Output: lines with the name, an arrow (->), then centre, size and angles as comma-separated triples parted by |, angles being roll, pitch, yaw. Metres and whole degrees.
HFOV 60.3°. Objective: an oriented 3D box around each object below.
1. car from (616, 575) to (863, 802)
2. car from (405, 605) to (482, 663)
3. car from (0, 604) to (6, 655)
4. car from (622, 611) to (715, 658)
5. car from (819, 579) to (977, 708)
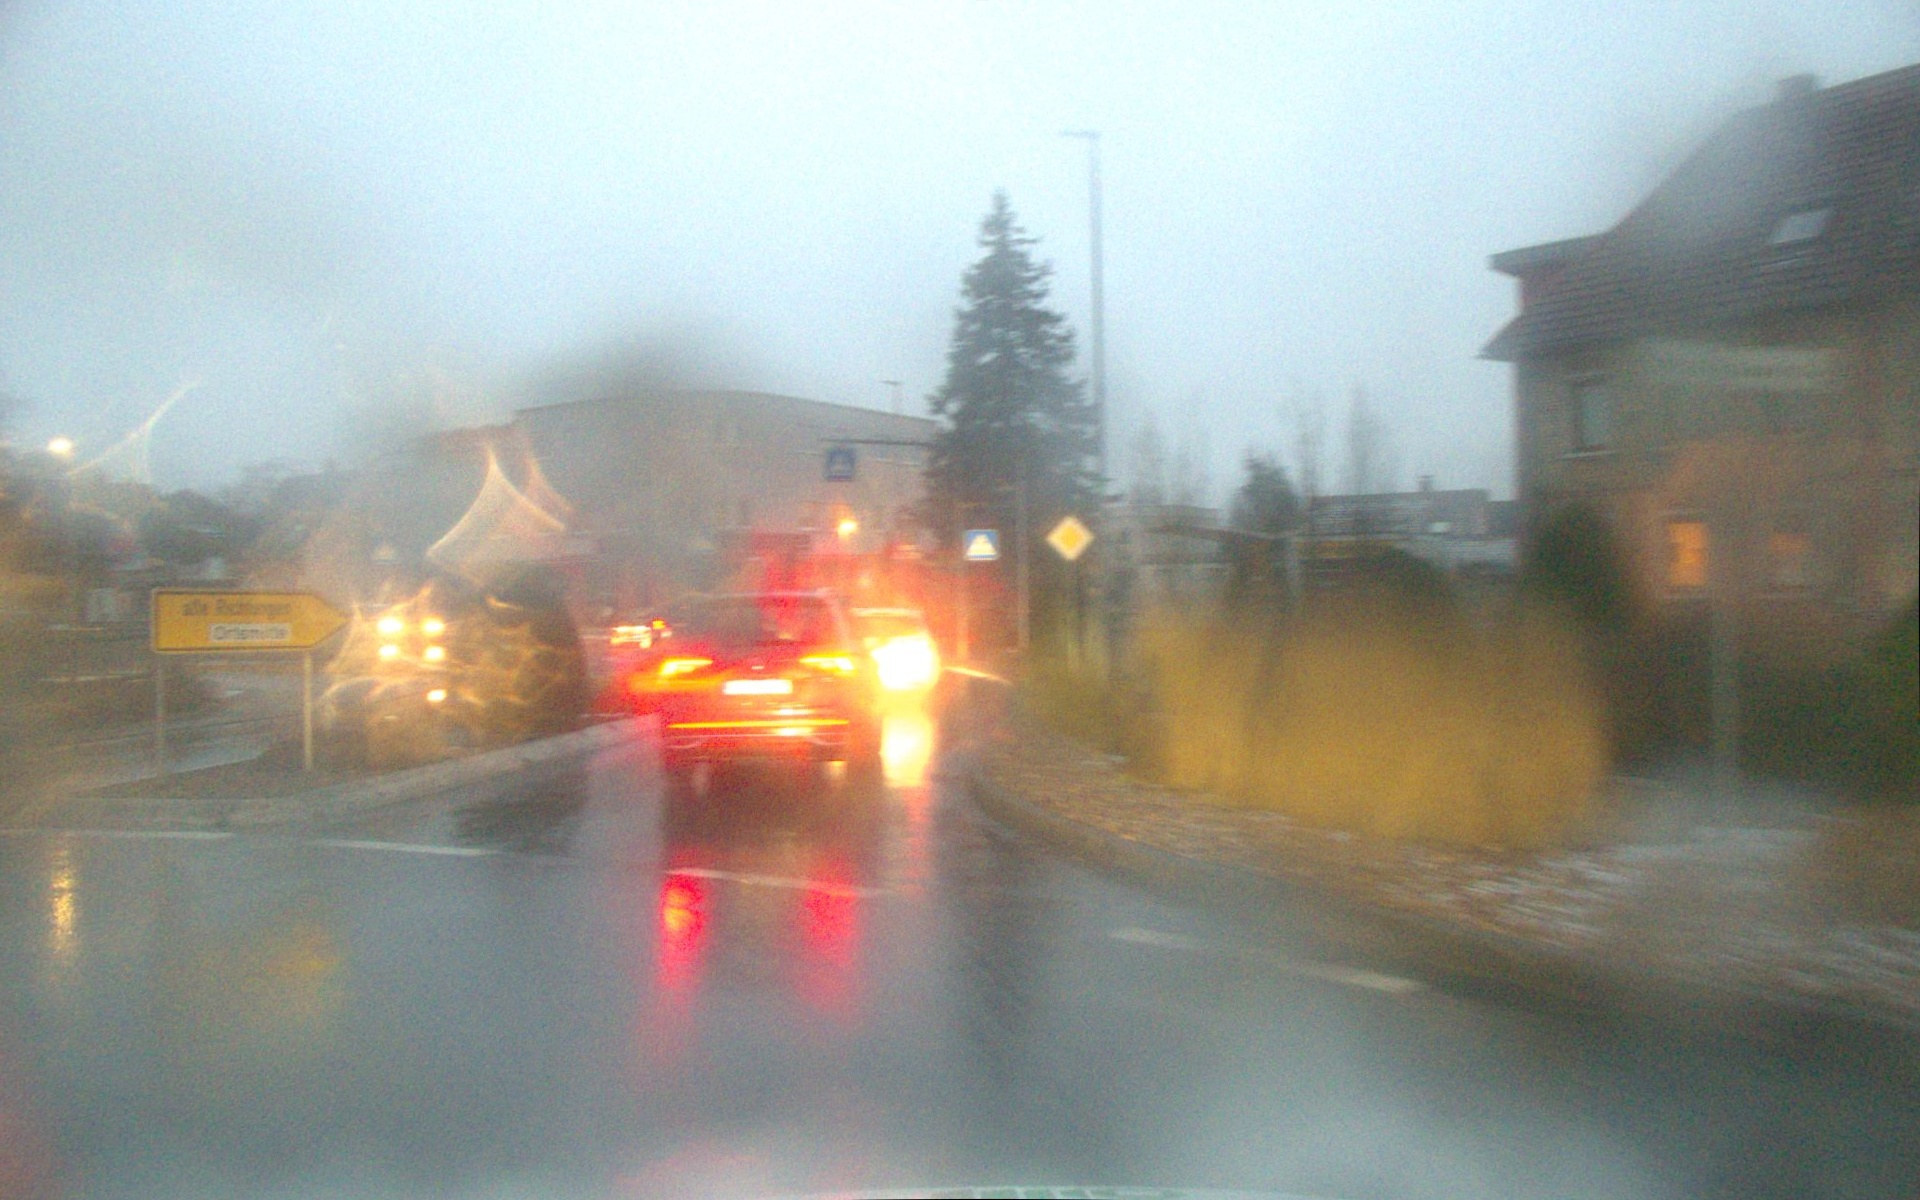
car -> -1.955, 0.669, 15.075 | 1.907, 1.748, 3.995 | -1, 1, -6
car -> -20.535, 1.294, 65.642 | 2.138, 2.096, 4.530 | -1, 1, -27
car -> -35.383, 1.087, 56.726 | 1.673, 1.778, 4.338 | 0, 1, 37
car -> -10.421, 1.257, 58.907 | 1.862, 1.575, 4.525 | -1, -1, -29
car -> -0.881, 0.605, 26.496 | 2.118, 1.718, 4.574 | -2, 2, 2
